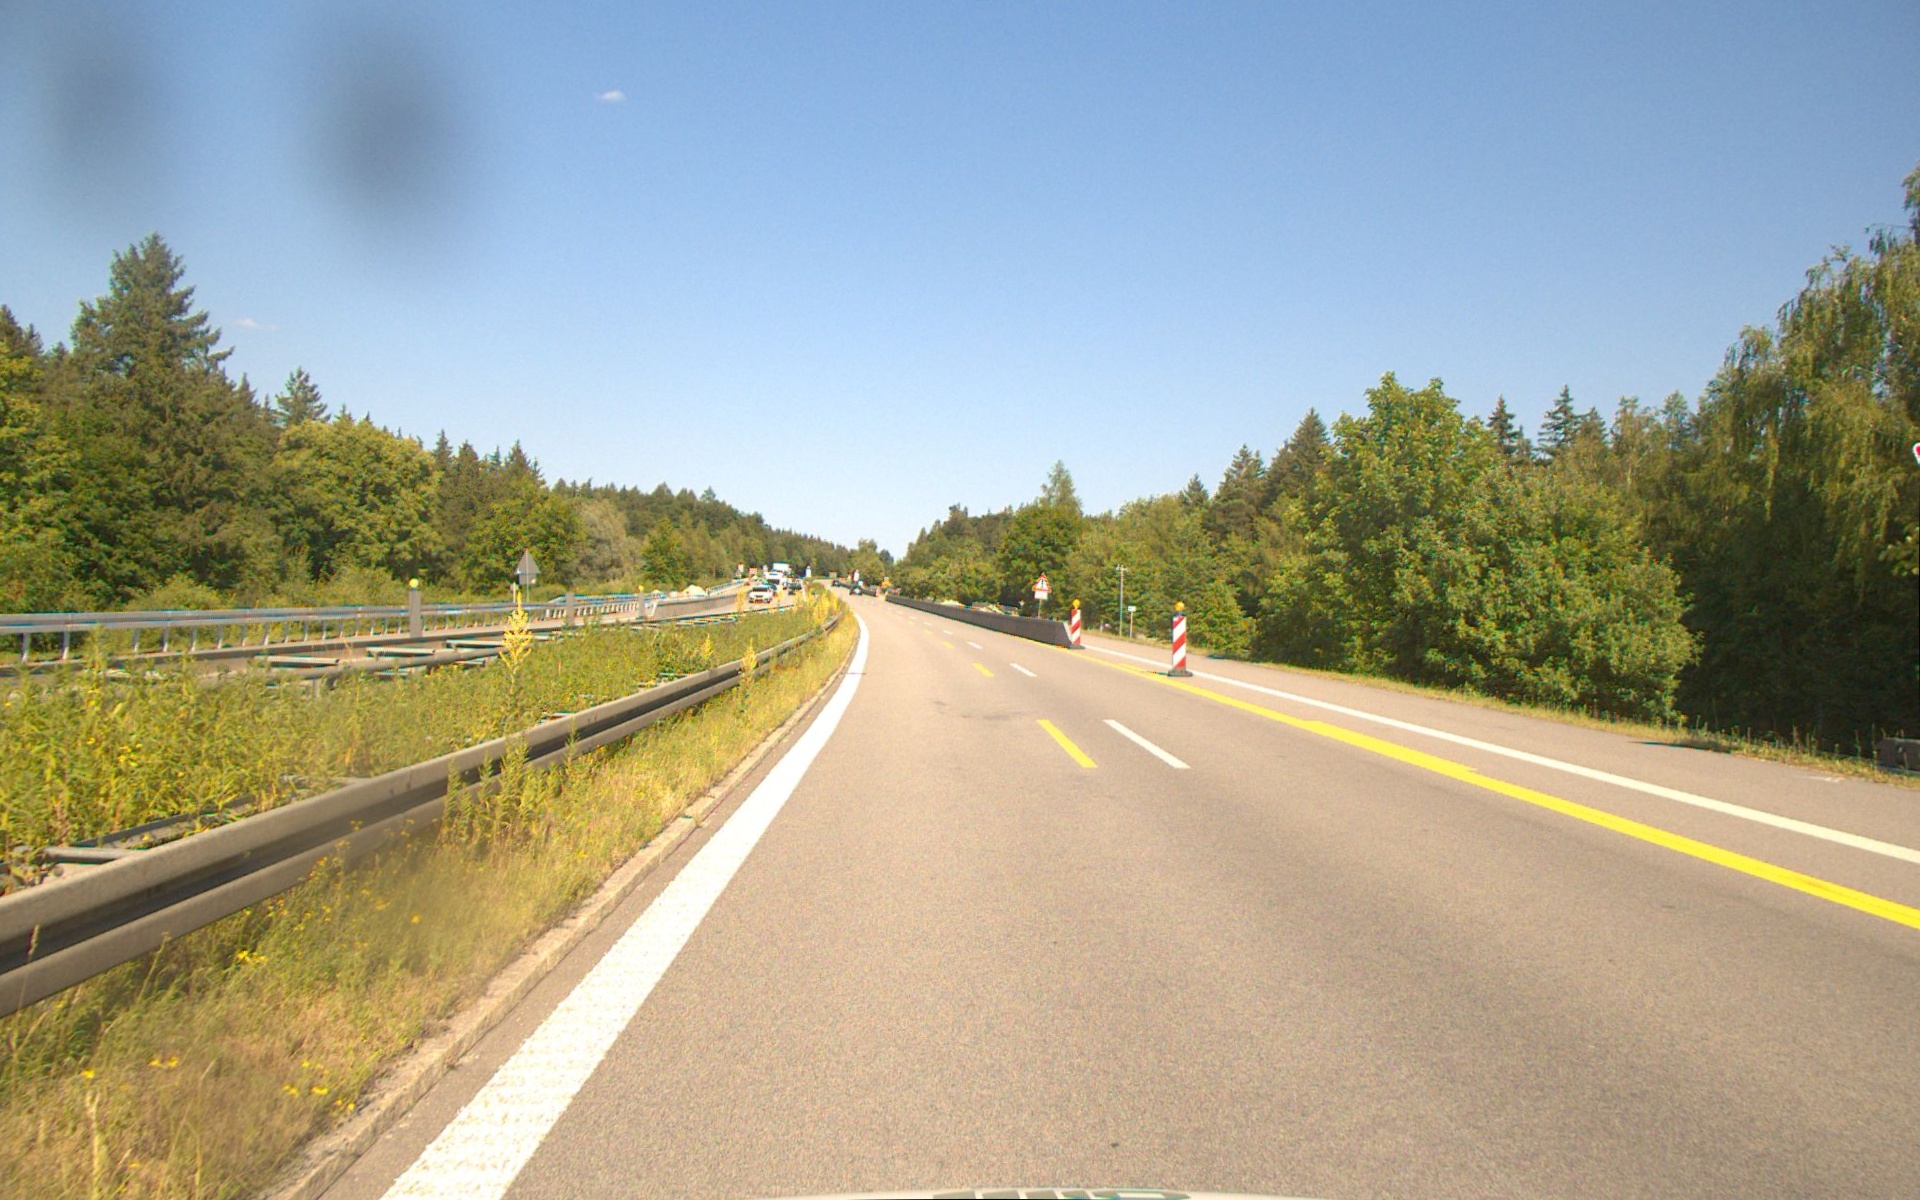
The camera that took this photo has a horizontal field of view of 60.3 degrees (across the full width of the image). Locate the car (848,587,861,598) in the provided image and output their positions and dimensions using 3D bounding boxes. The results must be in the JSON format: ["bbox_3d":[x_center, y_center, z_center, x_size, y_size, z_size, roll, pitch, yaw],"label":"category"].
[{"bbox_3d":[-15.394,-1.082,240.935,1.710,1.491,4.289,3,0,-6],"label":"car"}]

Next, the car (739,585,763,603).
[{"bbox_3d":[-18.151,-0.519,143.880,1.846,1.457,4.979,2,0,-5],"label":"car"}]

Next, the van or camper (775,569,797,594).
[{"bbox_3d":[-21.760,-2.296,206.792,2.359,3.002,7.516,2,0,-4],"label":"van or camper"}]

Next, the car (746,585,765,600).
[{"bbox_3d":[-20.096,-0.759,162.461,1.668,1.457,4.951,0,1,-5],"label":"car"}]

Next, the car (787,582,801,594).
[{"bbox_3d":[-21.752,-1.544,217.111,1.707,1.556,3.997,0,1,-4],"label":"car"}]
